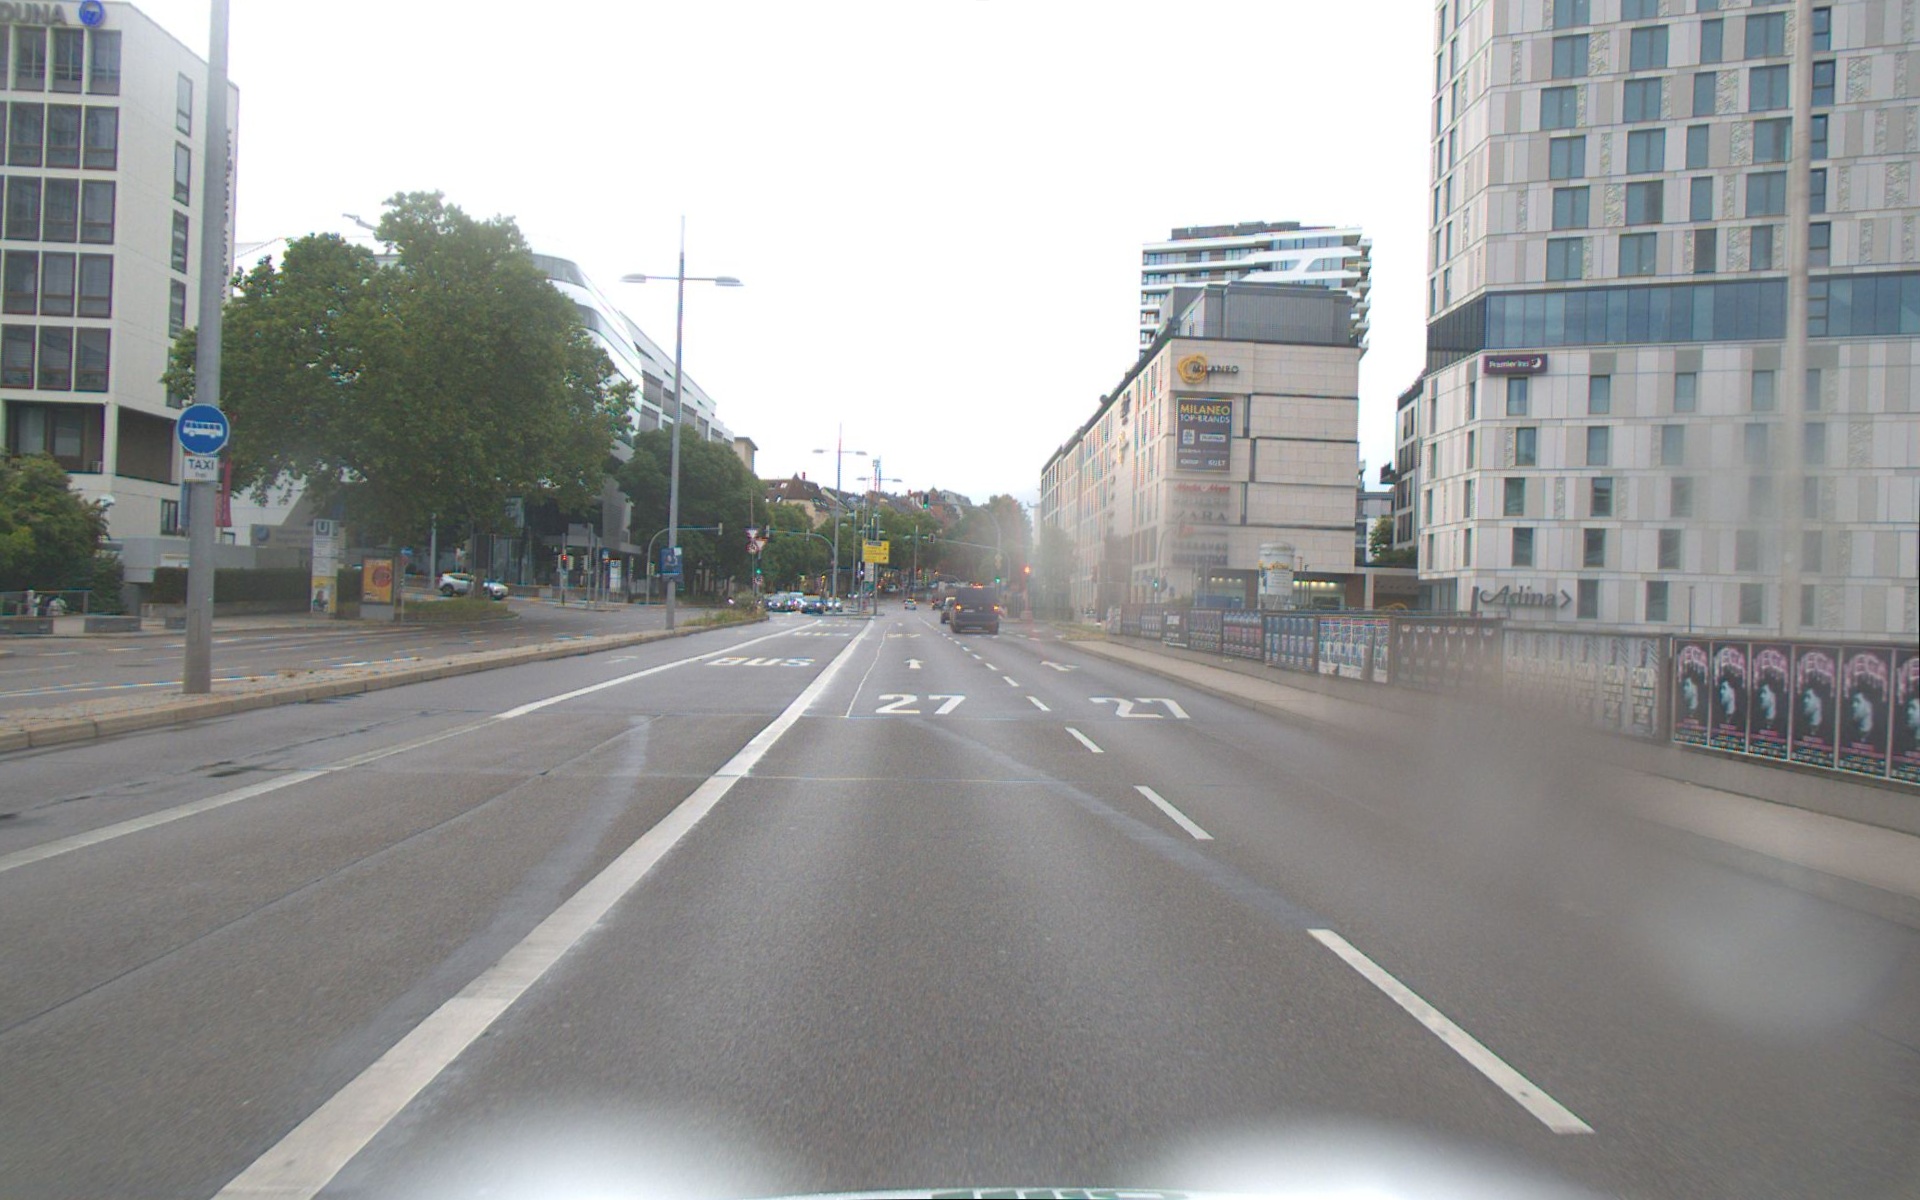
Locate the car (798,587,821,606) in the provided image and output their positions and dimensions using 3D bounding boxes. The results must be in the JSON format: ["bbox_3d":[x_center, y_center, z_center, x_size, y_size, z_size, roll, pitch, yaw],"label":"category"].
[{"bbox_3d":[-12.832,-0.296,141.071,1.708,1.470,3.393,1,-1,-2],"label":"car"}]

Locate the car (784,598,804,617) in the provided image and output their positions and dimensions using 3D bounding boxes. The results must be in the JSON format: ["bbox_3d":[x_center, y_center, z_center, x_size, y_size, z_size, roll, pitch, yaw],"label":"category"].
[{"bbox_3d":[-16.329,0.718,163.102,1.708,1.779,3.538,1,-1,-2],"label":"car"}]

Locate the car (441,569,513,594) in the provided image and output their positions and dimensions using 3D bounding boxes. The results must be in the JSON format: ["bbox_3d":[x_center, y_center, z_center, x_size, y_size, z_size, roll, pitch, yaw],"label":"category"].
[{"bbox_3d":[-33.212,-1.265,113.770,4.406,1.660,1.896,1,-1,14],"label":"car"}]

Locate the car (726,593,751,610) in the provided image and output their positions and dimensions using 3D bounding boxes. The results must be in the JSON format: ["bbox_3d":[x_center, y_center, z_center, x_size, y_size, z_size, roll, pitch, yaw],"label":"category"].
[{"bbox_3d":[-18.957,0.118,141.647,1.708,1.352,4.224,1,-1,-2],"label":"car"}]

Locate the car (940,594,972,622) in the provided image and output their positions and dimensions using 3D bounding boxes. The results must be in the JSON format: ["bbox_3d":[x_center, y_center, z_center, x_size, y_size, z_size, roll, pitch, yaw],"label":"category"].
[{"bbox_3d":[-0.247,0.485,95.262,1.705,1.558,3.812,1,-1,-2],"label":"car"}]

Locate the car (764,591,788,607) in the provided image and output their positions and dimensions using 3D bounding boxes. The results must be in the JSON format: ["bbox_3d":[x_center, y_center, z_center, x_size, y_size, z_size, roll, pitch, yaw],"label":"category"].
[{"bbox_3d":[-15.791,-0.112,142.173,1.708,1.279,3.538,2,0,-2],"label":"car"}]

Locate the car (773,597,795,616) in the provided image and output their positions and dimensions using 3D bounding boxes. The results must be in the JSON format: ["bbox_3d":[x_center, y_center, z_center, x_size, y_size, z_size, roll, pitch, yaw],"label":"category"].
[{"bbox_3d":[-15.835,0.604,149.135,1.708,1.586,3.538,1,-1,-2],"label":"car"}]

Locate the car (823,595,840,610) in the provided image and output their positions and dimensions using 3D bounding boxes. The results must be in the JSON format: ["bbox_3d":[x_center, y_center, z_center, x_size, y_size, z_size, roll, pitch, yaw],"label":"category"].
[{"bbox_3d":[-13.347,0.295,172.106,1.507,1.503,3.694,1,-1,-2],"label":"car"}]

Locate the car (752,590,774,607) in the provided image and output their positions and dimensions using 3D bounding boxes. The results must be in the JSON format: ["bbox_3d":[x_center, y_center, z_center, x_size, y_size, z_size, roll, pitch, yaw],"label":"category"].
[{"bbox_3d":[-18.493,-0.131,155.052,1.708,1.586,3.538,1,-1,-2],"label":"car"}]

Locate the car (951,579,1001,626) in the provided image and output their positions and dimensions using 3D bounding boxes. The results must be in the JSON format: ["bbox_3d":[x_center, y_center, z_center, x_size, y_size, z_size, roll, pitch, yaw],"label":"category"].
[{"bbox_3d":[0.637,0.074,70.916,1.992,1.915,5.040,0,1,-1],"label":"car"}]
